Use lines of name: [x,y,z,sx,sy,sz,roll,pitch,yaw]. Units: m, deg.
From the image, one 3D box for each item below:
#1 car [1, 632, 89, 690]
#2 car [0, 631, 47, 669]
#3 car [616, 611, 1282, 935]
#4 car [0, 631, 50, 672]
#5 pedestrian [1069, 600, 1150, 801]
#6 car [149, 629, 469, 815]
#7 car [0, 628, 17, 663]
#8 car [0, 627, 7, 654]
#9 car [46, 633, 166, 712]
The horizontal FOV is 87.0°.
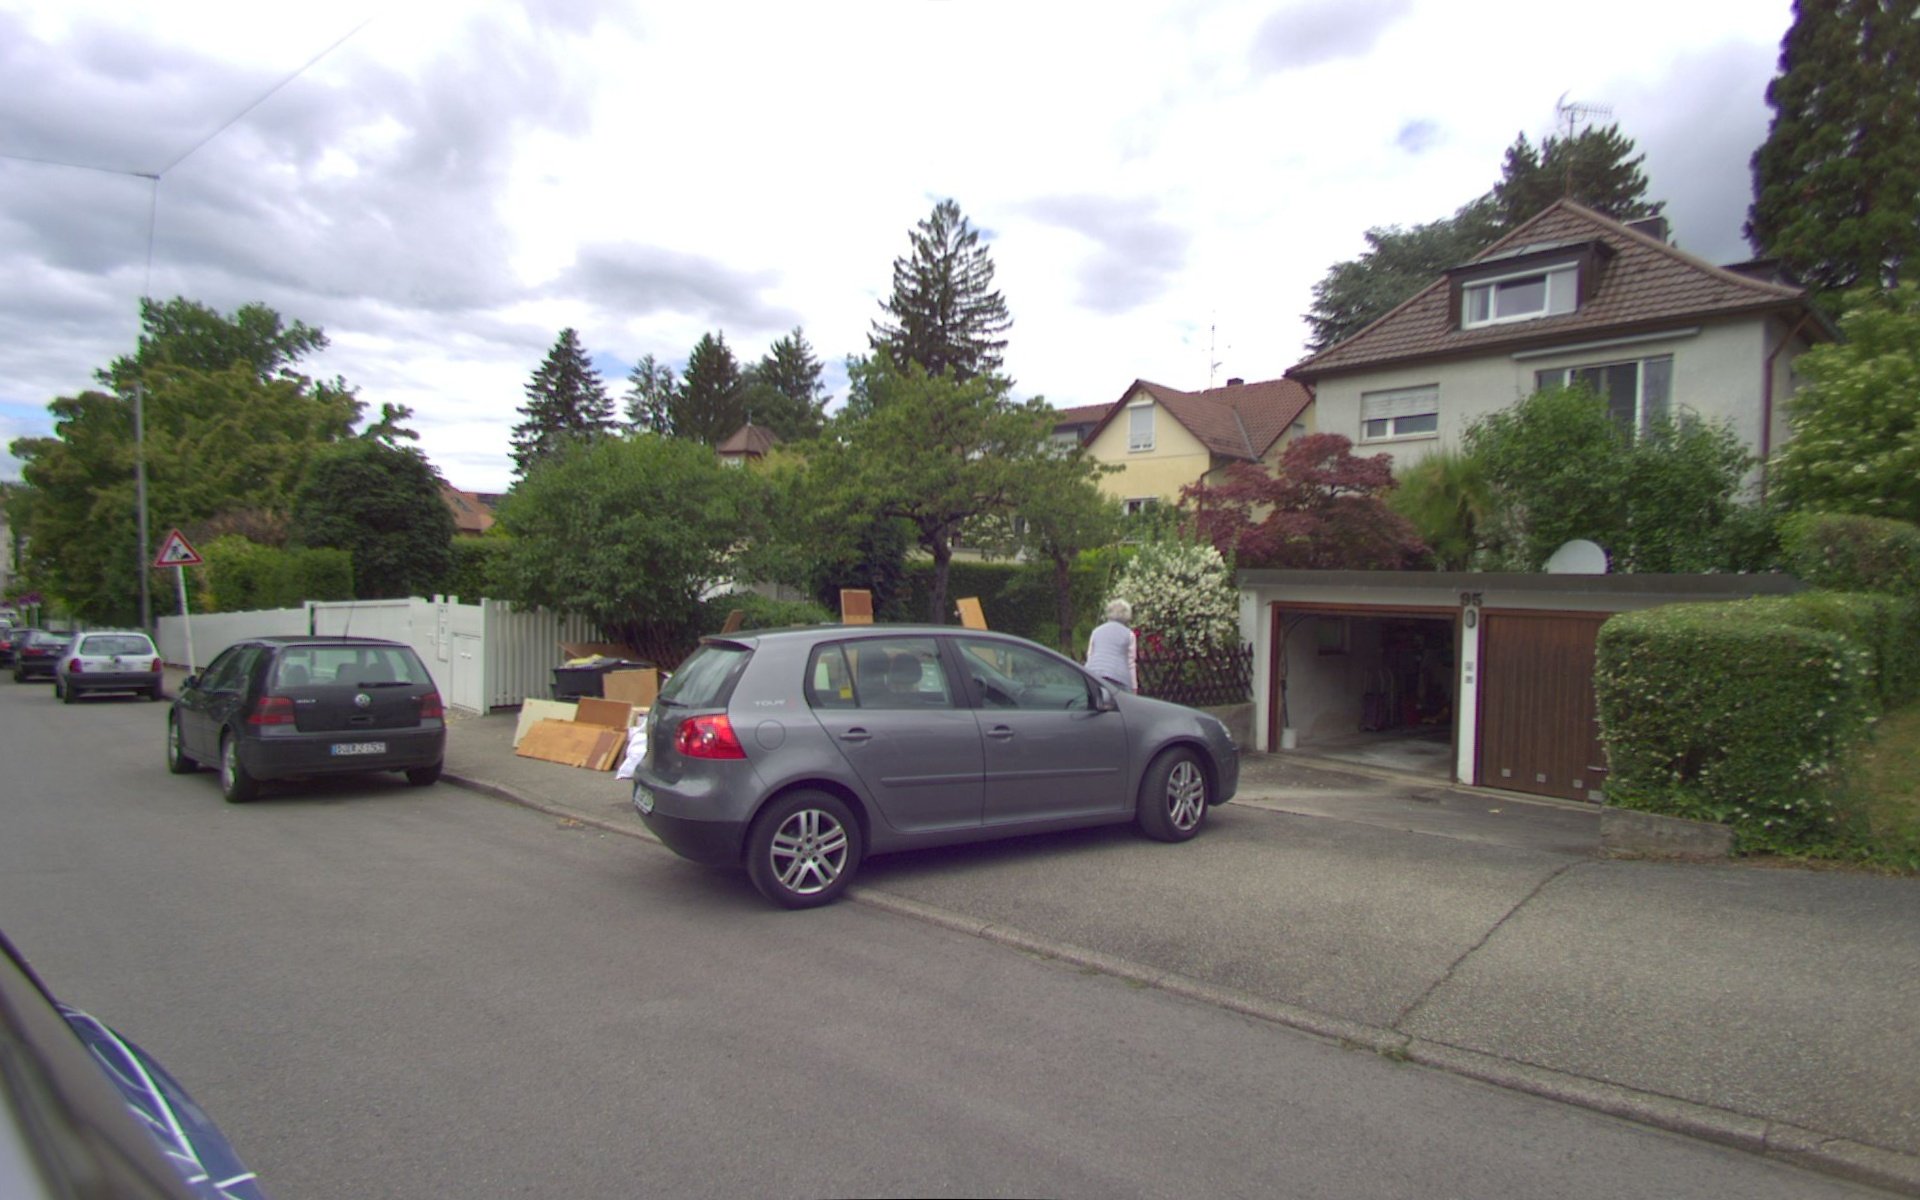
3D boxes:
car: [-25.510,1.672,28.197,3.314,1.480,1.598,-1,-3,45]
car: [-38.689,2.041,41.520,3.314,1.480,1.598,-1,-3,45]
car: [-0.028,0.859,6.568,3.931,1.473,1.743,-1,0,-27]
car: [-35.401,1.961,38.056,3.314,1.480,1.517,-3,-5,45]
pedestrian: [1.422,0.915,9.579,0.641,1.818,0.609,-1,0,19]
car: [-6.487,1.034,9.933,3.802,1.455,1.734,-1,-3,43]
car: [-51.427,2.415,53.611,3.702,1.769,1.862,-1,0,42]
car: [-55.764,2.303,57.962,3.314,1.480,1.598,-1,-3,45]
car: [-17.965,1.466,21.251,3.314,1.480,1.598,-1,-3,45]
